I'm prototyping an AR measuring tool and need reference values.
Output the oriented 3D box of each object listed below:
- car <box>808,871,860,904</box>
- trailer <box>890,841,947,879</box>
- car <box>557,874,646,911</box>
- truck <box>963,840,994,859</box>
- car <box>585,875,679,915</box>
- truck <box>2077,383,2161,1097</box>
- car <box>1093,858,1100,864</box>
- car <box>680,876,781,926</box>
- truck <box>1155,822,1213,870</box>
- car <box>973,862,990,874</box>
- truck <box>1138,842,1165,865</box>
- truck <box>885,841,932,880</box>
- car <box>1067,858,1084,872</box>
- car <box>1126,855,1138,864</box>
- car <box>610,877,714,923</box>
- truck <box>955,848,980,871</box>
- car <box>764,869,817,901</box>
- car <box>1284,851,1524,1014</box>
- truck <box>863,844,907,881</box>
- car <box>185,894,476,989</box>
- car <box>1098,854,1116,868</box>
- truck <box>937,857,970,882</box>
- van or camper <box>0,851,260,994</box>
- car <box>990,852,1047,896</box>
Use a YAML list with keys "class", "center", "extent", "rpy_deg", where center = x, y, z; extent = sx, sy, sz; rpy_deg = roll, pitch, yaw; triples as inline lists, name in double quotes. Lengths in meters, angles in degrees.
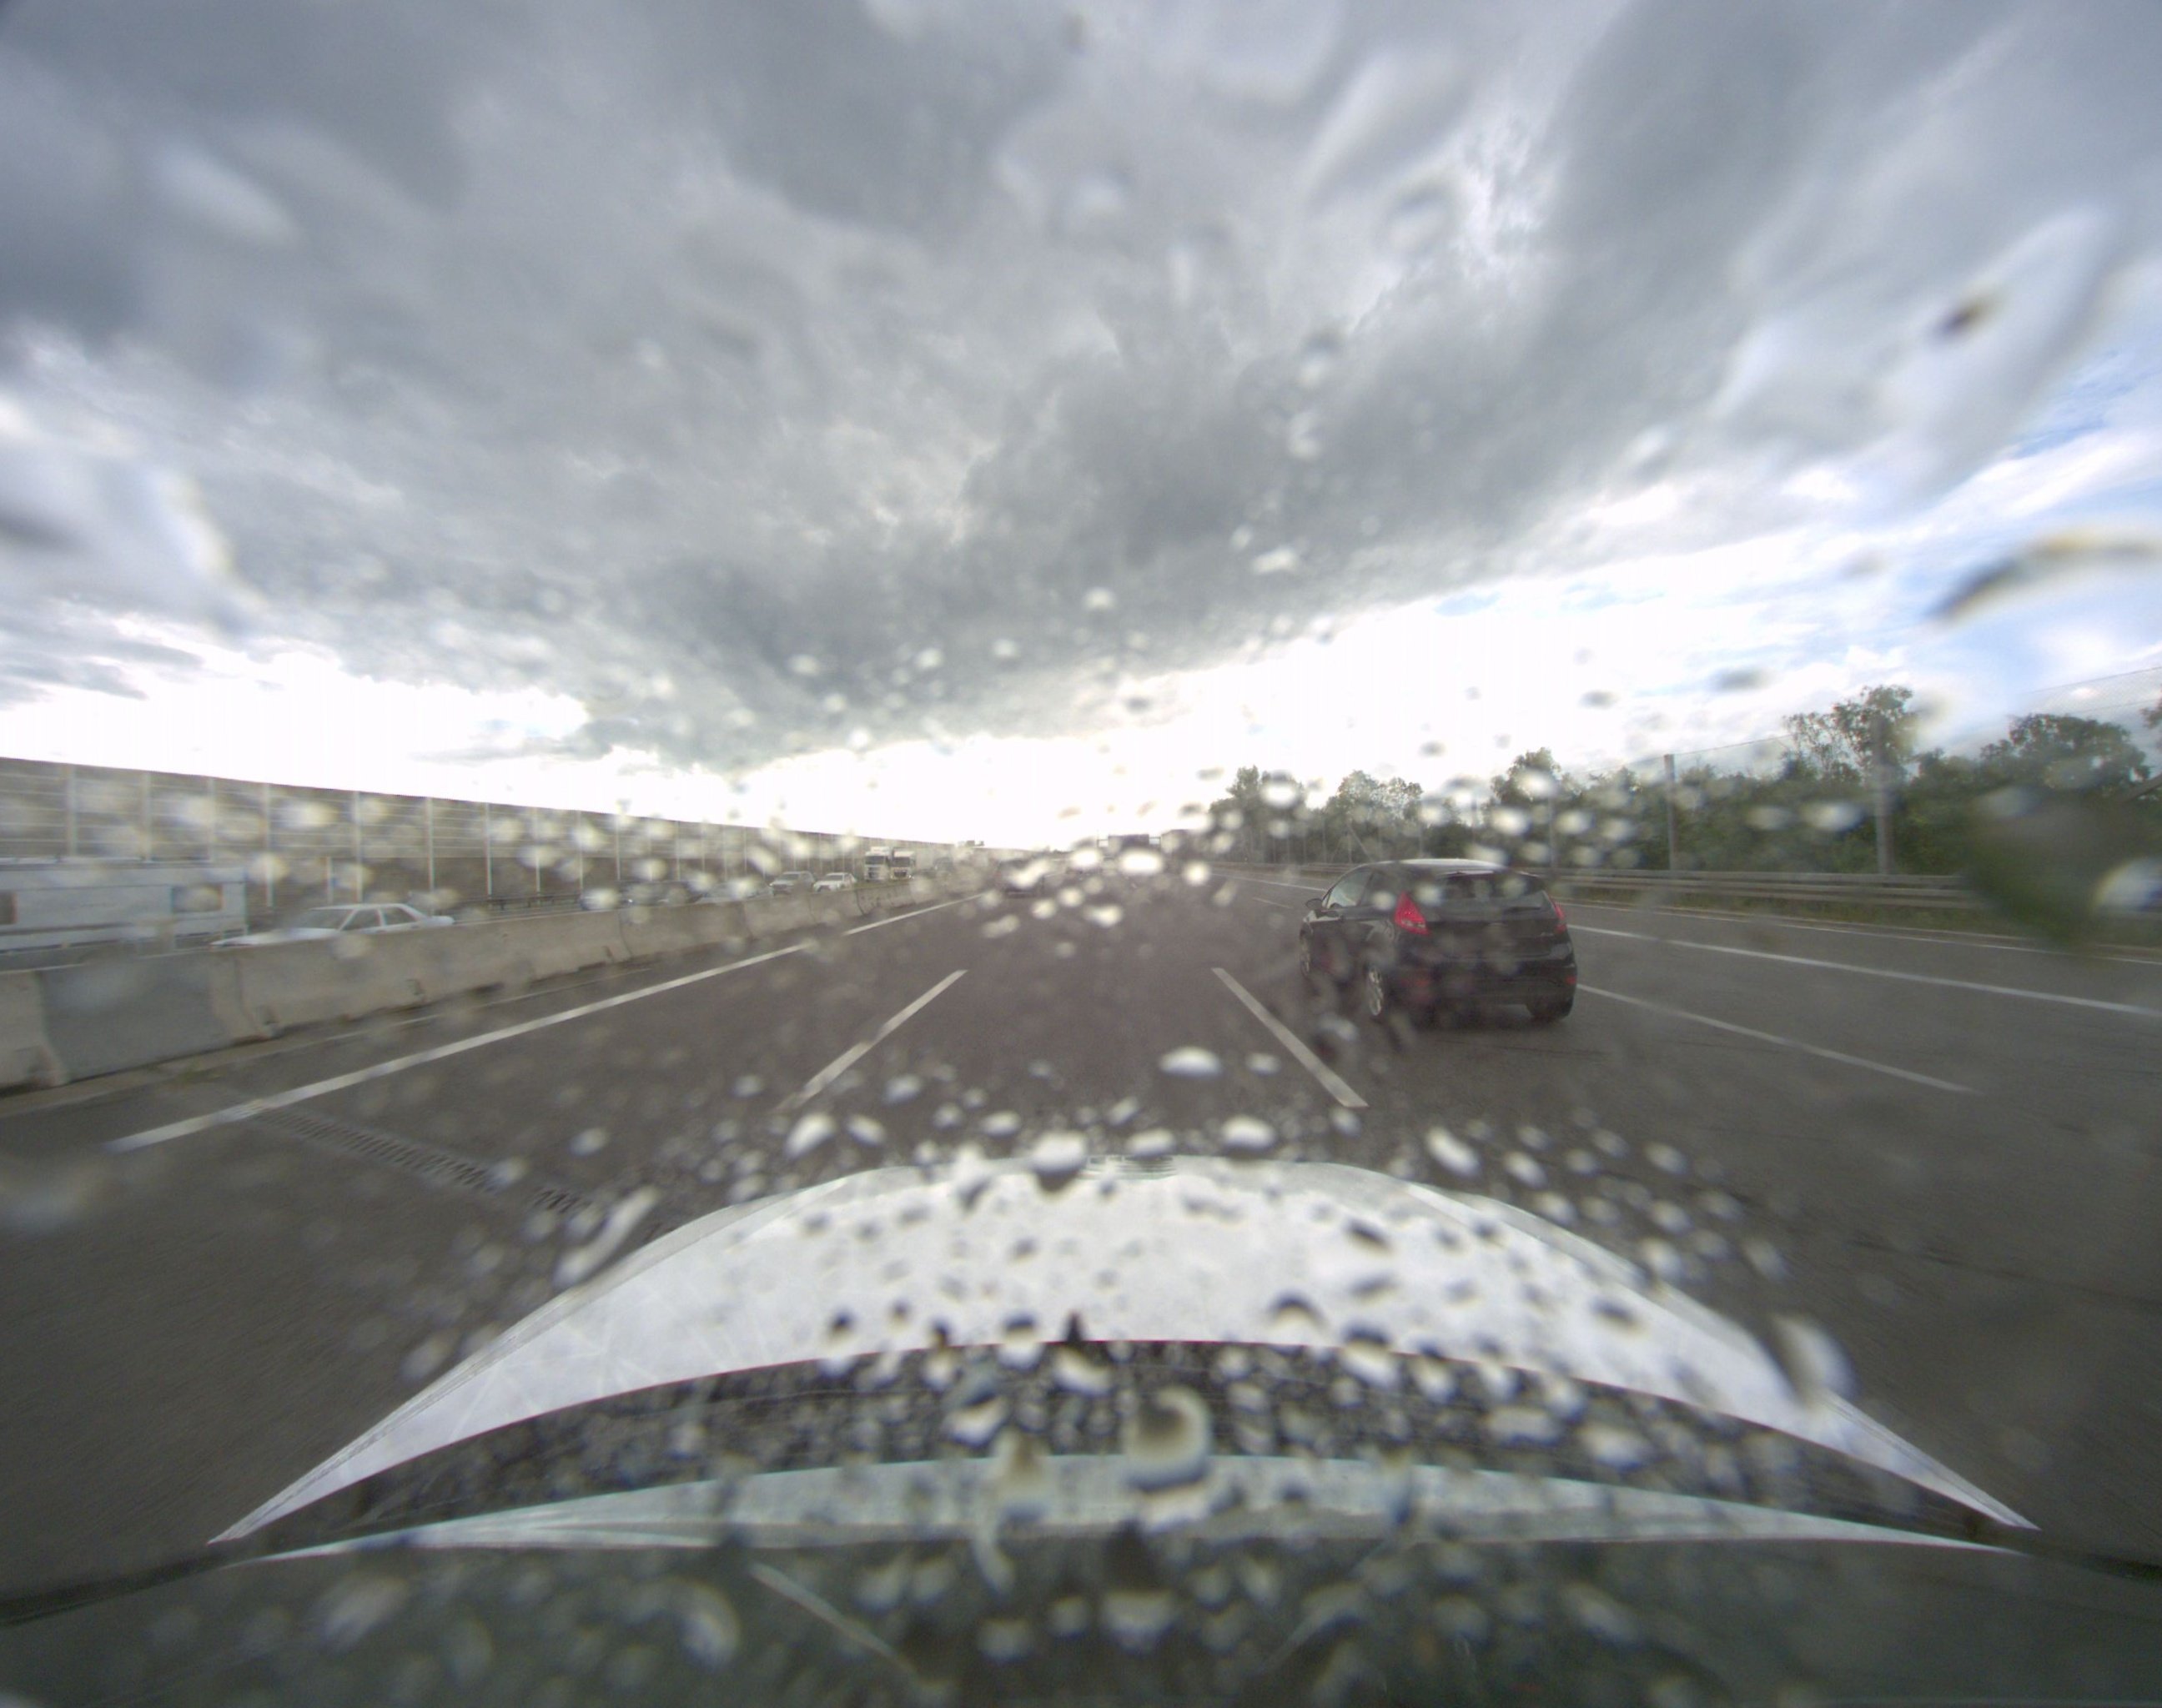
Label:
- class: "car"
  center: [-16.116, 2.137, 53.319]
  extent: [1.916, 1.906, 4.254]
  rpy_deg: [-2, 0, 2]
- class: "trailer"
  center: [-18.402, 0.633, 93.488]
  extent: [3.068, 3.935, 14.988]
  rpy_deg: [-1, 0, 2]
- class: "car"
  center: [-24.552, 1.939, 41.877]
  extent: [1.916, 1.599, 4.254]
  rpy_deg: [-2, 0, 2]
- class: "truck"
  center: [-19.131, -0.838, 153.395]
  extent: [3.254, 3.352, 16.091]
  rpy_deg: [-1, 0, 2]
- class: "car"
  center: [-21.014, 1.892, 38.345]
  extent: [1.916, 1.599, 4.254]
  rpy_deg: [-2, 0, 2]
- class: "truck"
  center: [7.516, -0.633, 1.664]
  extent: [2.951, 4.020, 6.590]
  rpy_deg: [-1, 0, 1]
- class: "car"
  center: [4.141, 1.818, 218.350]
  extent: [1.767, 1.441, 3.872]
  rpy_deg: [-1, 0, -1]
- class: "car"
  center: [-13.526, 1.764, 31.747]
  extent: [1.916, 1.599, 4.254]
  rpy_deg: [-2, 0, 2]
- class: "truck"
  center: [9.891, -0.743, 80.072]
  extent: [4.166, 4.288, 12.611]
  rpy_deg: [0, 0, 0]
- class: "car"
  center: [-13.520, 1.923, 110.966]
  extent: [1.657, 1.534, 3.889]
  rpy_deg: [-1, 0, 2]
- class: "truck"
  center: [13.273, -0.187, 155.209]
  extent: [4.230, 4.176, 11.989]
  rpy_deg: [-1, 0, 0]
- class: "truck"
  center: [-18.559, 0.654, 87.999]
  extent: [3.068, 3.935, 8.057]
  rpy_deg: [-1, 0, 2]
- class: "car"
  center: [-0.612, 1.203, 87.409]
  extent: [1.756, 1.369, 5.057]
  rpy_deg: [-1, 0, -1]
- class: "car"
  center: [8.937, 0.967, 142.536]
  extent: [1.830, 1.441, 4.055]
  rpy_deg: [-1, 0, 0]
- class: "car"
  center: [-17.188, 1.847, 33.653]
  extent: [1.916, 1.599, 4.254]
  rpy_deg: [-2, 0, 2]
- class: "truck"
  center: [-17.117, 0.721, 122.980]
  extent: [2.313, 3.347, 8.356]
  rpy_deg: [-1, 0, 2]
- class: "car"
  center: [-19.704, 2.055, 55.455]
  extent: [1.916, 1.906, 4.254]
  rpy_deg: [-2, 0, 2]
- class: "car"
  center: [3.325, 0.712, 8.963]
  extent: [1.441, 1.441, 3.165]
  rpy_deg: [-1, 0, 2]
- class: "truck"
  center: [-22.713, 0.907, 94.863]
  extent: [2.700, 4.074, 8.918]
  rpy_deg: [-1, 0, 2]
- class: "car"
  center: [-17.111, 1.904, 19.057]
  extent: [1.916, 1.599, 5.098]
  rpy_deg: [-2, 0, 2]
- class: "car"
  center: [2.854, 0.727, 90.583]
  extent: [1.767, 1.441, 4.053]
  rpy_deg: [-1, 0, -1]
- class: "truck"
  center: [-11.932, 1.406, 76.525]
  extent: [1.986, 2.211, 5.927]
  rpy_deg: [-1, 0, 2]
- class: "van or camper"
  center: [-21.172, 1.308, 16.135]
  extent: [2.335, 2.641, 7.152]
  rpy_deg: [-2, 0, 2]
- class: "car"
  center: [-2.606, 0.793, 35.200]
  extent: [1.902, 1.691, 5.169]
  rpy_deg: [-2, 0, 1]
